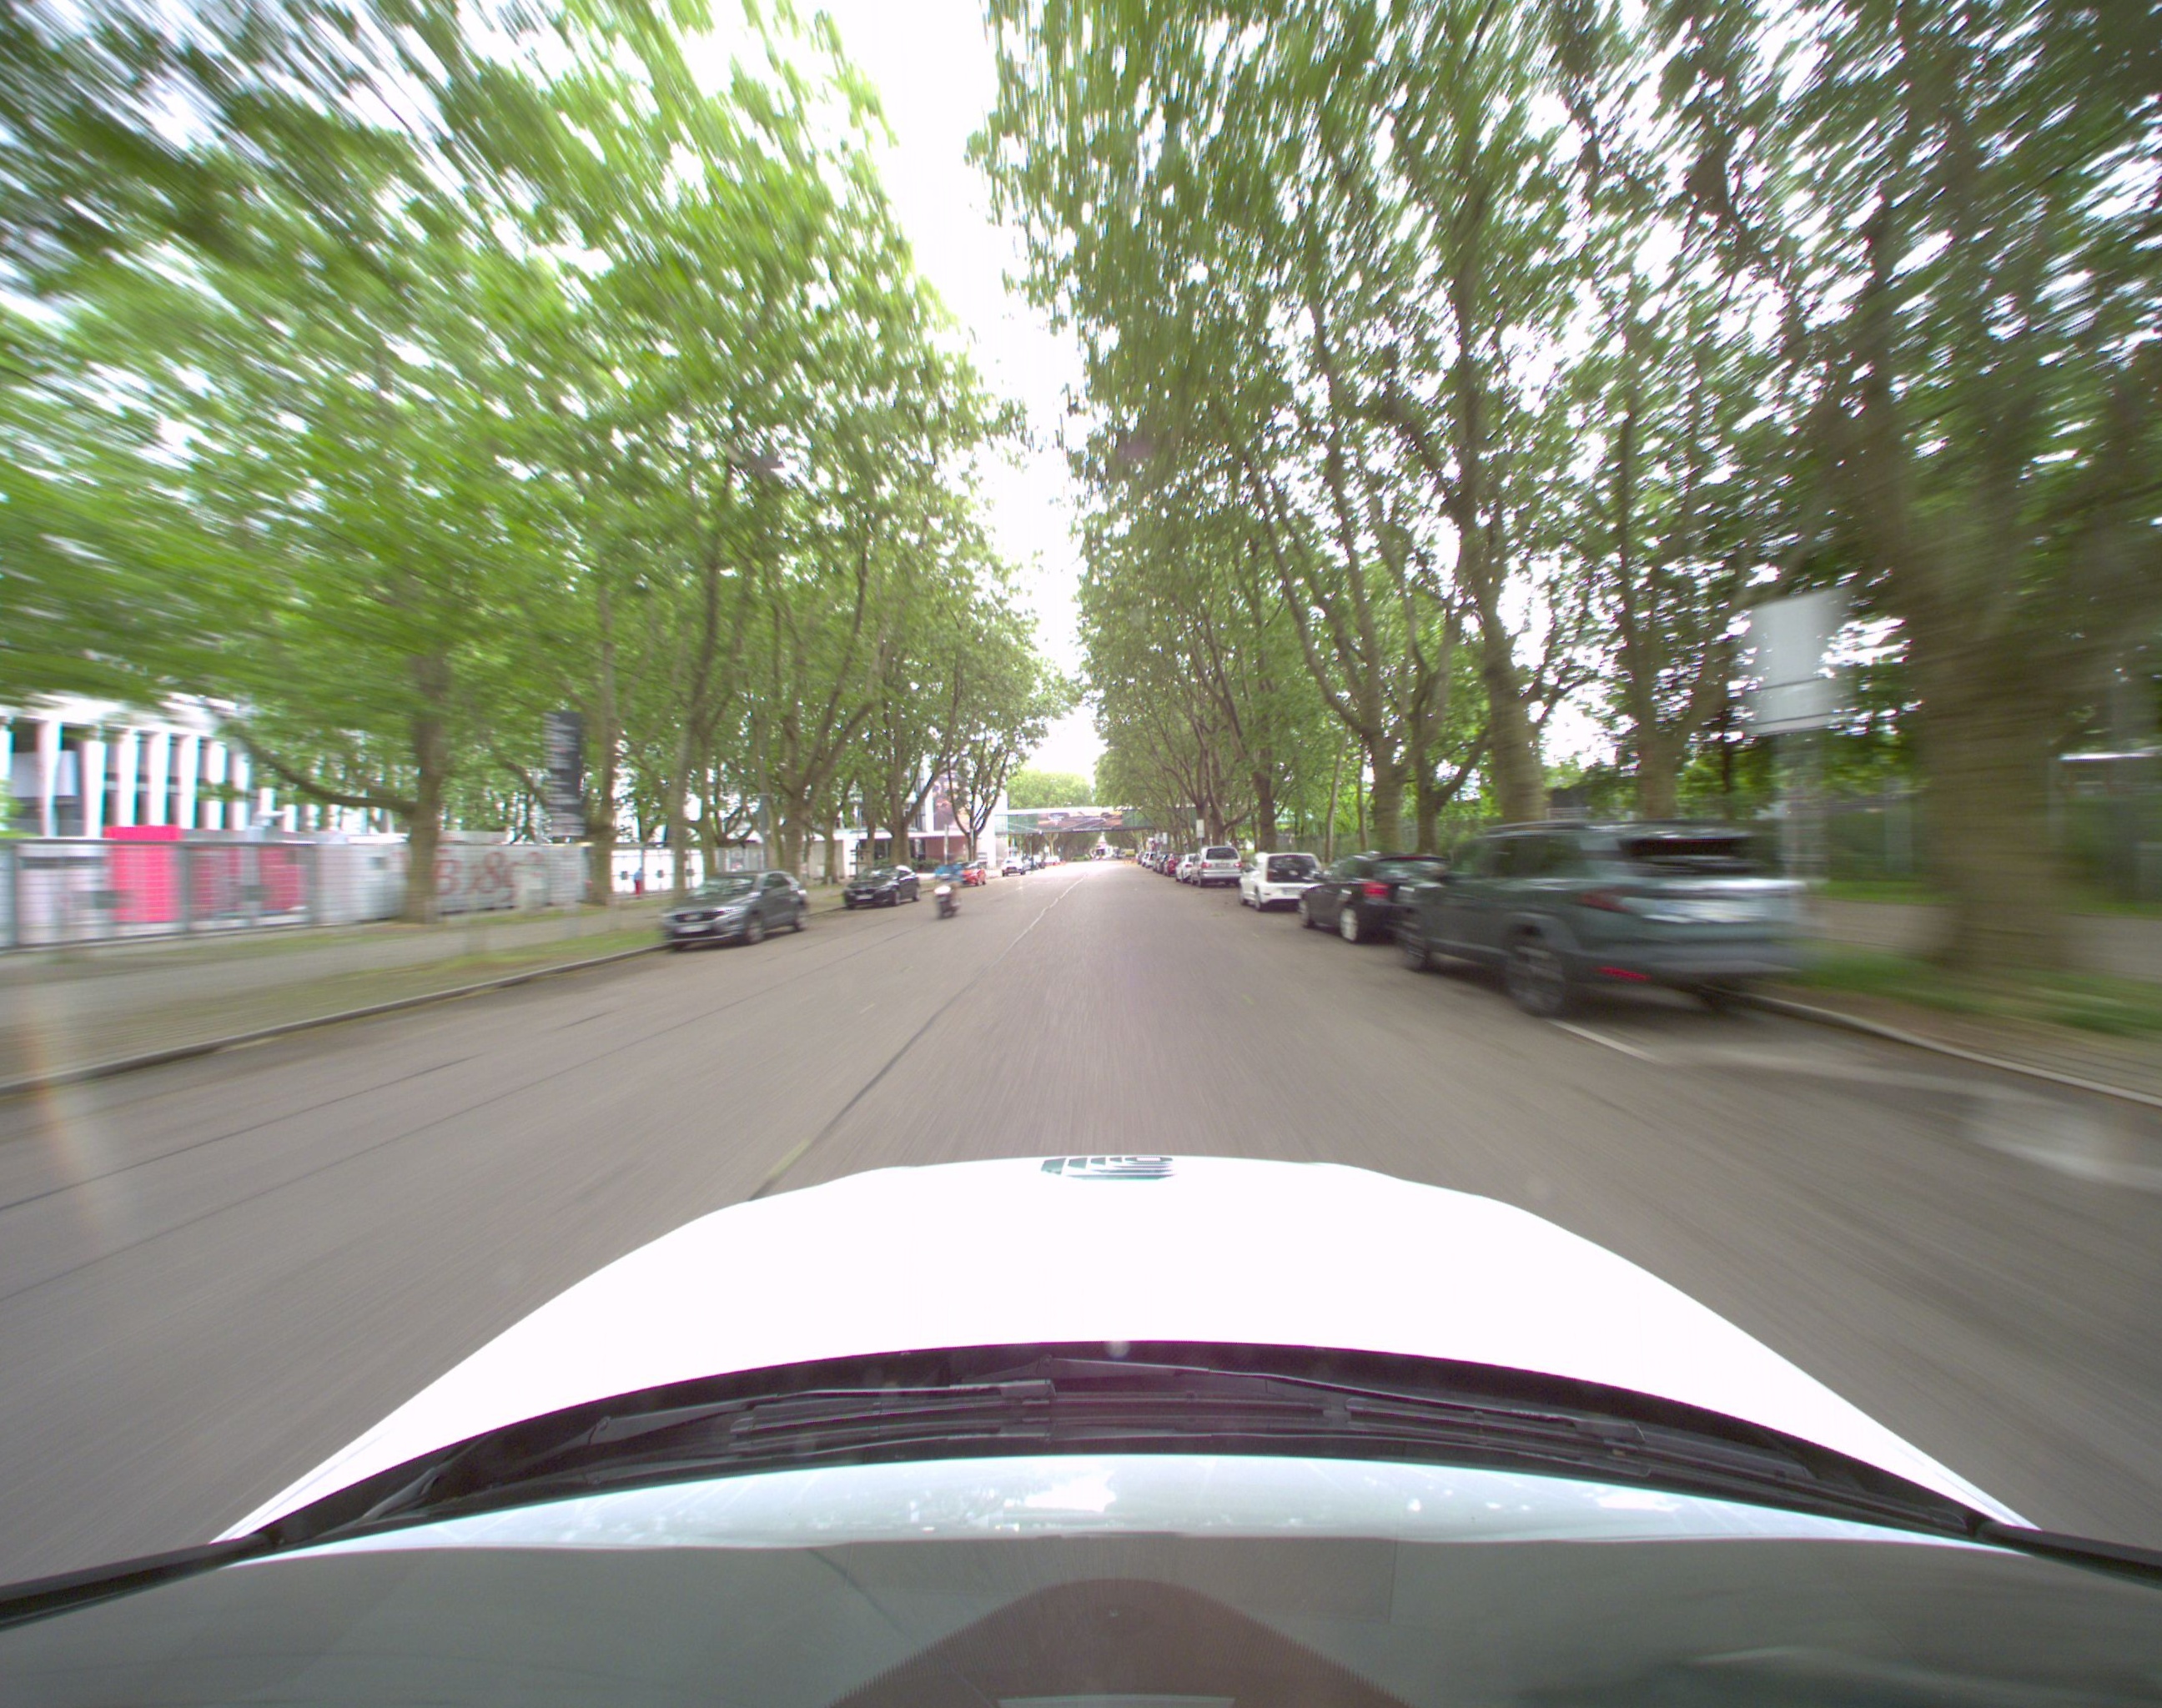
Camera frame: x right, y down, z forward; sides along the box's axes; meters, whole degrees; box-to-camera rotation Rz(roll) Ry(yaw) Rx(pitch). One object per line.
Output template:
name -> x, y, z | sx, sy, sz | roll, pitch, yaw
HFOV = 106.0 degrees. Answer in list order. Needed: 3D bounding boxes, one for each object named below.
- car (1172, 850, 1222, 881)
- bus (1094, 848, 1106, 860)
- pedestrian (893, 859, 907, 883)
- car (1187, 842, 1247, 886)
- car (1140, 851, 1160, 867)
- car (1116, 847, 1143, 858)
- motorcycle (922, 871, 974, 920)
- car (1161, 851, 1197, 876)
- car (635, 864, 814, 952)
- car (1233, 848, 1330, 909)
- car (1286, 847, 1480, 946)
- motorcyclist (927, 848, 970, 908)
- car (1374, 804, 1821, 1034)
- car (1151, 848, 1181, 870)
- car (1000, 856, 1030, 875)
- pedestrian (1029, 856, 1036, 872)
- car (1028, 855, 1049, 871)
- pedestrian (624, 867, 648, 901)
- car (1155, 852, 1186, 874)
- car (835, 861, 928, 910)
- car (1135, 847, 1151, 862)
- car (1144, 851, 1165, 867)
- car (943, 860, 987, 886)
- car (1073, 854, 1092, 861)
car -> 5.704, 0.541, 40.396 | 1.870, 1.427, 4.587 | -2, 0, 1
bus -> 5.238, 0.074, 223.932 | 3.028, 3.160, 12.679 | -4, -1, 1
pedestrian -> -12.192, 1.148, 54.919 | 0.588, 1.620, 0.794 | -2, 0, 11
car -> 5.774, 0.406, 35.065 | 1.896, 1.738, 4.508 | -2, 0, 2
car -> 7.419, 0.496, 87.735 | 1.907, 1.618, 4.751 | -2, 0, 2
car -> 12.745, -0.319, 214.534 | 6.802, 2.513, 2.316 | -2, 0, -1
motorcycle -> -3.389, 1.032, 20.995 | 0.871, 1.079, 3.051 | -2, 0, -2
car -> 6.200, 0.583, 51.755 | 1.850, 1.481, 4.179 | -2, 0, 1
car -> -7.541, 1.060, 17.739 | 1.871, 1.527, 4.153 | -3, 0, 2
car -> 5.111, 0.574, 21.241 | 1.701, 1.427, 3.891 | -1, 0, 2
car -> 4.996, 0.615, 14.167 | 1.702, 1.415, 4.360 | -1, 0, 0
motorcyclist -> -3.403, 0.596, 21.006 | 0.868, 1.480, 1.264 | -2, 0, -2
car -> 4.693, 0.481, 8.399 | 1.702, 1.698, 4.630 | -1, 0, 0
car -> 6.750, 0.415, 65.326 | 1.974, 1.680, 4.732 | -2, 0, 1
car -> -5.749, 0.965, 71.568 | 2.065, 1.563, 4.759 | -2, 0, 2
pedestrian -> -4.329, 0.895, 72.755 | 0.581, 1.466, 0.568 | -1, 0, 5
car -> -5.204, 1.053, 100.405 | 2.027, 1.789, 4.910 | -5, 0, 2
pedestrian -> -20.594, 1.380, 37.690 | 0.665, 1.544, 0.660 | -2, 0, 2
car -> 6.377, 0.606, 58.429 | 1.869, 1.427, 4.482 | -2, 0, 2
car -> -7.036, 1.050, 29.218 | 1.819, 1.465, 4.632 | -3, 0, 4
car -> 7.909, 0.043, 104.455 | 1.840, 1.783, 5.213 | -1, 0, 2
car -> 7.163, 0.500, 79.651 | 1.800, 1.526, 4.098 | -2, 0, 2
car -> -6.641, 1.050, 47.102 | 1.801, 1.354, 4.002 | -2, 0, 2
car -> 0.328, 0.834, 204.705 | 4.681, 1.584, 1.865 | -2, -1, 2
